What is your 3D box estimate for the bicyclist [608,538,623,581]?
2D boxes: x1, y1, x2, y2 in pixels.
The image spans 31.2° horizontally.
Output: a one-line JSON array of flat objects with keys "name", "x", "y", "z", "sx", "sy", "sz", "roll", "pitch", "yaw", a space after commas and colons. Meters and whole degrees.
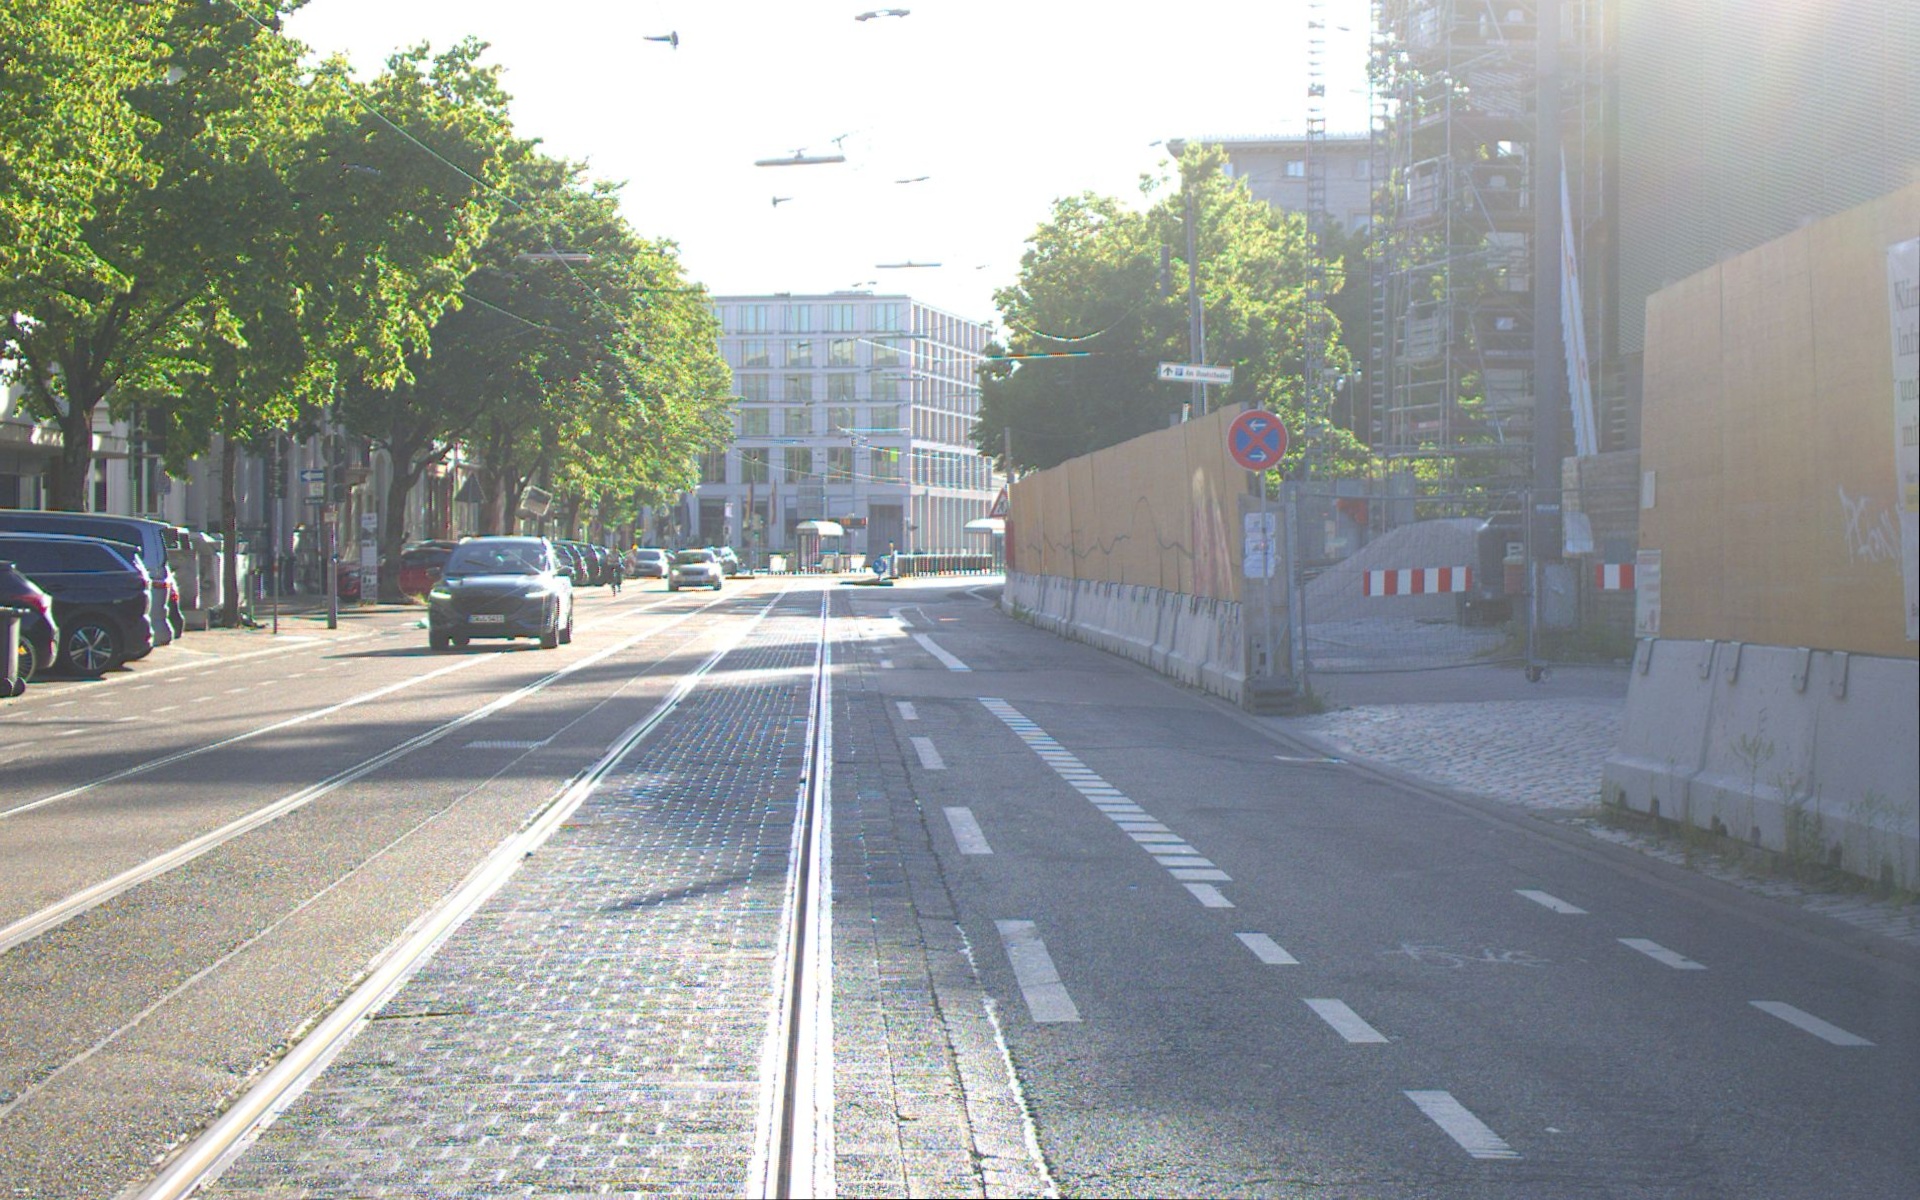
[{"name": "bicyclist", "x": -10.978, "y": -1.305, "z": 109.666, "sx": 0.457, "sy": 1.373, "sz": 0.641, "roll": 0, "pitch": 1, "yaw": -7}]

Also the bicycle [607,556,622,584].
[{"name": "bicycle", "x": -11.025, "y": -0.964, "z": 109.668, "sx": 0.449, "sy": 0.878, "sz": 1.901, "roll": 0, "pitch": 1, "yaw": -7}]

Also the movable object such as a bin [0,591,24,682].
[{"name": "movable object such as a bin", "x": -10.060, "y": 0.369, "z": 35.738, "sx": 0.575, "sy": 0.910, "sz": 0.575, "roll": 2, "pitch": 1, "yaw": -18}]

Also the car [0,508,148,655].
[{"name": "car", "x": -11.874, "y": -0.214, "z": 40.516, "sx": 4.234, "sy": 1.679, "sz": 1.811, "roll": -1, "pitch": 1, "yaw": -22}]

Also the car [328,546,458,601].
[{"name": "car", "x": -14.106, "y": -0.672, "z": 85.544, "sx": 2.933, "sy": 1.327, "sz": 1.215, "roll": -1, "pitch": 1, "yaw": -29}]

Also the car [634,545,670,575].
[{"name": "car", "x": -15.607, "y": -2.009, "z": 174.144, "sx": 1.572, "sy": 1.485, "sz": 4.000, "roll": 0, "pitch": 1, "yaw": -2}]

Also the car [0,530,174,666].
[{"name": "car", "x": -10.753, "y": -0.037, "z": 37.919, "sx": 3.855, "sy": 1.471, "sz": 1.844, "roll": 0, "pitch": 1, "yaw": -20}]

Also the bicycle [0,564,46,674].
[{"name": "bicycle", "x": -10.699, "y": 0.175, "z": 36.278, "sx": 1.965, "sy": 1.140, "sz": 0.493, "roll": 2, "pitch": 0, "yaw": -20}]

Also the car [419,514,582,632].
[{"name": "car", "x": -6.738, "y": -0.434, "z": 50.841, "sx": 1.927, "sy": 1.624, "sz": 4.249, "roll": -1, "pitch": 2, "yaw": -2}]

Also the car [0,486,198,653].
[{"name": "car", "x": -11.959, "y": -0.419, "z": 43.055, "sx": 4.353, "sy": 1.980, "sz": 1.950, "roll": 2, "pitch": 0, "yaw": -23}]

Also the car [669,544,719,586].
[{"name": "car", "x": -9.302, "y": -1.250, "z": 120.124, "sx": 1.709, "sy": 1.431, "sz": 4.172, "roll": 0, "pitch": 1, "yaw": -5}]
